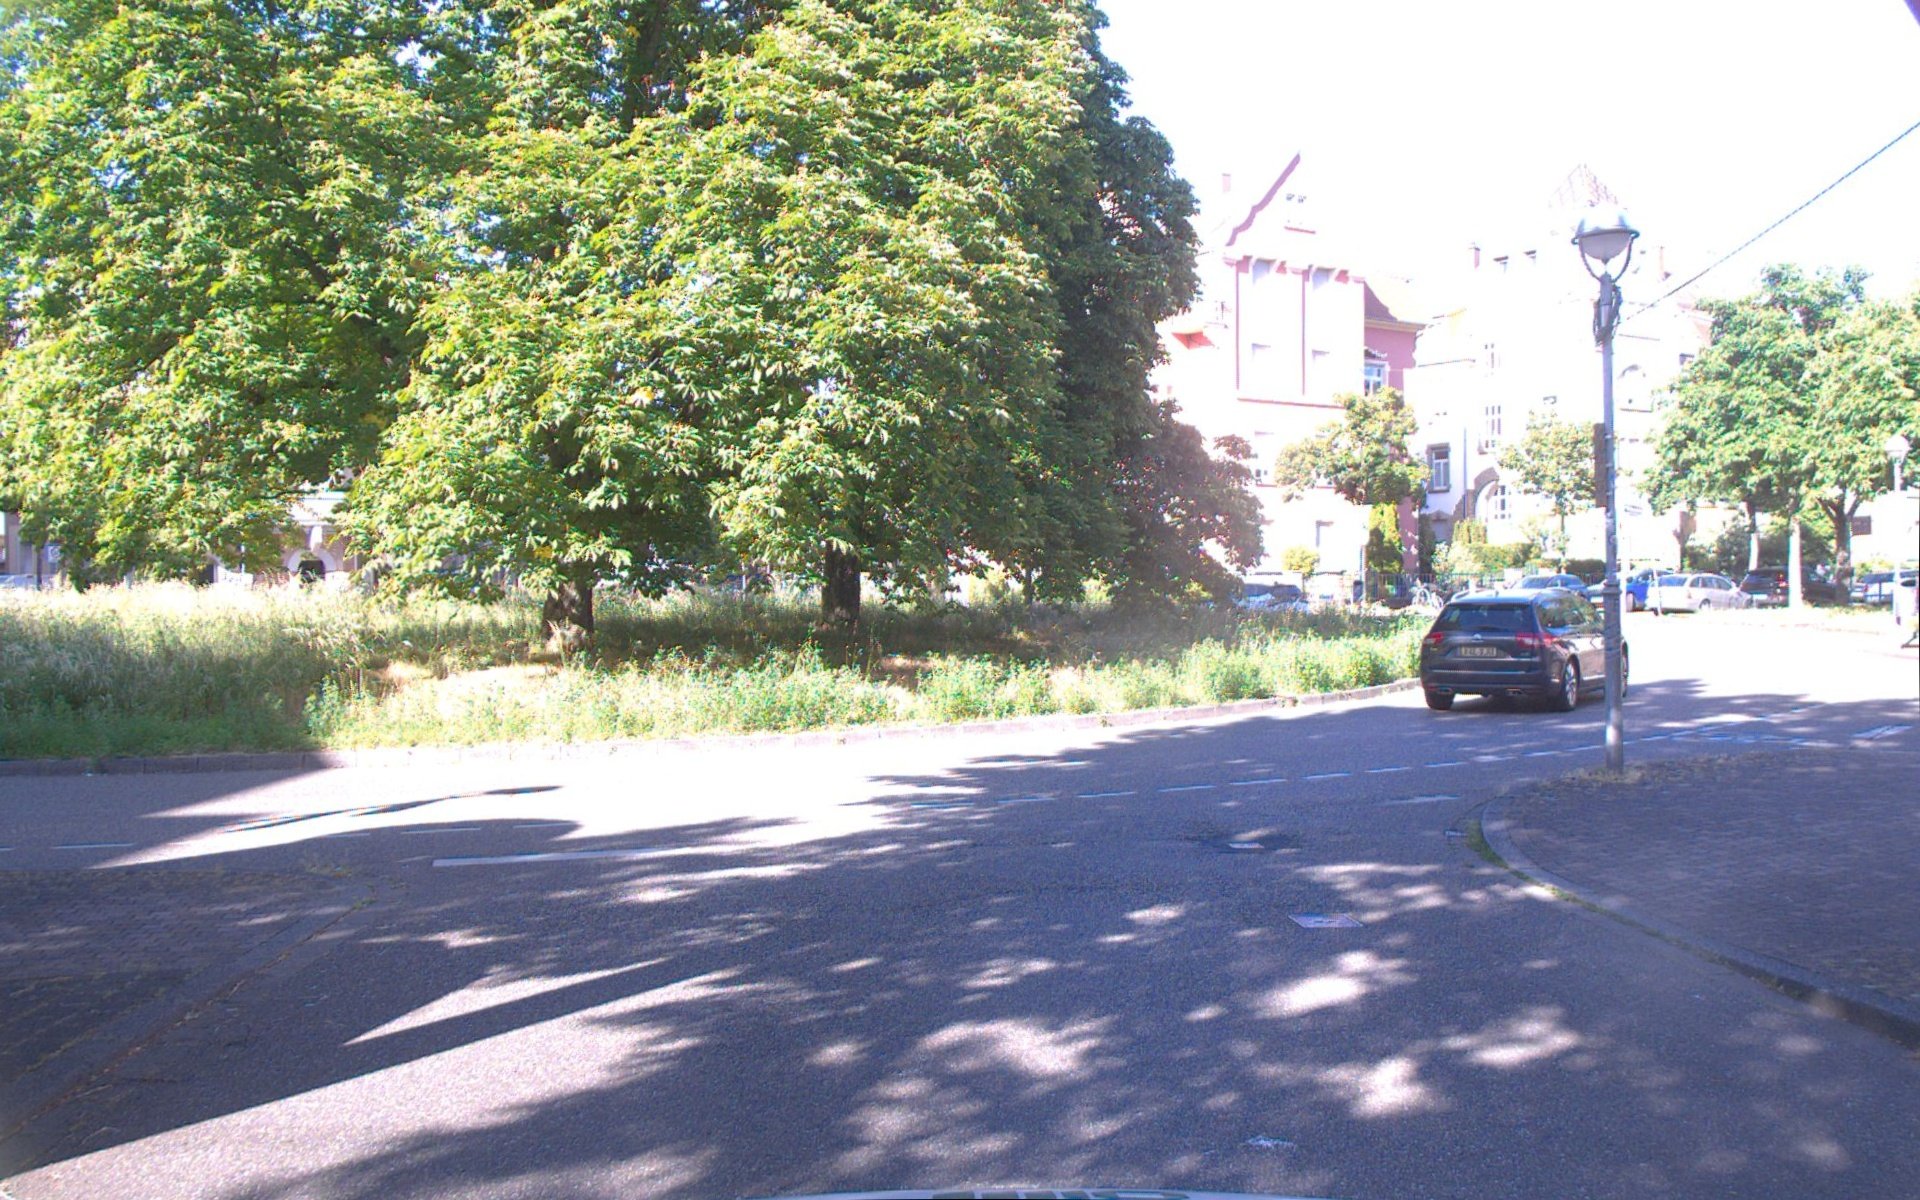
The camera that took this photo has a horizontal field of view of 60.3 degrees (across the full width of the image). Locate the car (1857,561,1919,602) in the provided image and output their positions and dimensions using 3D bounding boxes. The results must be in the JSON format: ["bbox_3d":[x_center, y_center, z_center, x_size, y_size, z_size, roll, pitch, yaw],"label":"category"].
[{"bbox_3d":[34.684,-0.696,60.649,3.411,1.461,1.644,-1,1,-31],"label":"car"}]

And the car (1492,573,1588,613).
[{"bbox_3d":[21.580,-0.279,61.511,3.609,1.393,1.735,-2,1,-39],"label":"car"}]

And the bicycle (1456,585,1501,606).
[{"bbox_3d":[20.156,-0.176,64.371,0.613,0.799,2.279,-1,1,-13],"label":"bicycle"}]

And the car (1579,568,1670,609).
[{"bbox_3d":[25.783,-0.457,64.160,3.434,1.514,1.652,-1,1,-34],"label":"car"}]

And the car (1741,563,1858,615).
[{"bbox_3d":[25.721,-0.353,50.650,3.690,1.480,1.543,-2,1,-33],"label":"car"}]

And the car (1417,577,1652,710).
[{"bbox_3d":[7.600,0.498,21.649,1.686,1.509,4.127,-1,1,38],"label":"car"}]

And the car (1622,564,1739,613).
[{"bbox_3d":[23.162,-0.369,53.133,3.926,1.480,1.543,-2,1,-33],"label":"car"}]

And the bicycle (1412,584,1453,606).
[{"bbox_3d":[18.149,-0.198,63.560,0.469,0.814,2.279,-1,1,-13],"label":"bicycle"}]

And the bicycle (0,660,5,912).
[{"bbox_3d":[-5.326,0.882,7.162,1.925,1.164,0.663,-1,0,-14],"label":"bicycle"}]

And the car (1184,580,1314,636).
[{"bbox_3d":[8.545,0.220,49.050,1.549,1.579,3.586,-1,1,-44],"label":"car"}]

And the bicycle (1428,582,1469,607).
[{"bbox_3d":[18.710,-0.223,63.406,0.469,0.930,2.279,-1,1,-13],"label":"bicycle"}]

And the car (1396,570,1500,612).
[{"bbox_3d":[17.177,-0.343,58.176,3.605,1.393,1.737,-2,1,-37],"label":"car"}]

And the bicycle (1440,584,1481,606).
[{"bbox_3d":[19.411,-0.209,64.163,0.469,0.837,2.279,-1,1,-13],"label":"bicycle"}]

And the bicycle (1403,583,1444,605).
[{"bbox_3d":[17.644,-0.233,62.976,0.470,0.814,2.018,-1,1,-17],"label":"bicycle"}]
